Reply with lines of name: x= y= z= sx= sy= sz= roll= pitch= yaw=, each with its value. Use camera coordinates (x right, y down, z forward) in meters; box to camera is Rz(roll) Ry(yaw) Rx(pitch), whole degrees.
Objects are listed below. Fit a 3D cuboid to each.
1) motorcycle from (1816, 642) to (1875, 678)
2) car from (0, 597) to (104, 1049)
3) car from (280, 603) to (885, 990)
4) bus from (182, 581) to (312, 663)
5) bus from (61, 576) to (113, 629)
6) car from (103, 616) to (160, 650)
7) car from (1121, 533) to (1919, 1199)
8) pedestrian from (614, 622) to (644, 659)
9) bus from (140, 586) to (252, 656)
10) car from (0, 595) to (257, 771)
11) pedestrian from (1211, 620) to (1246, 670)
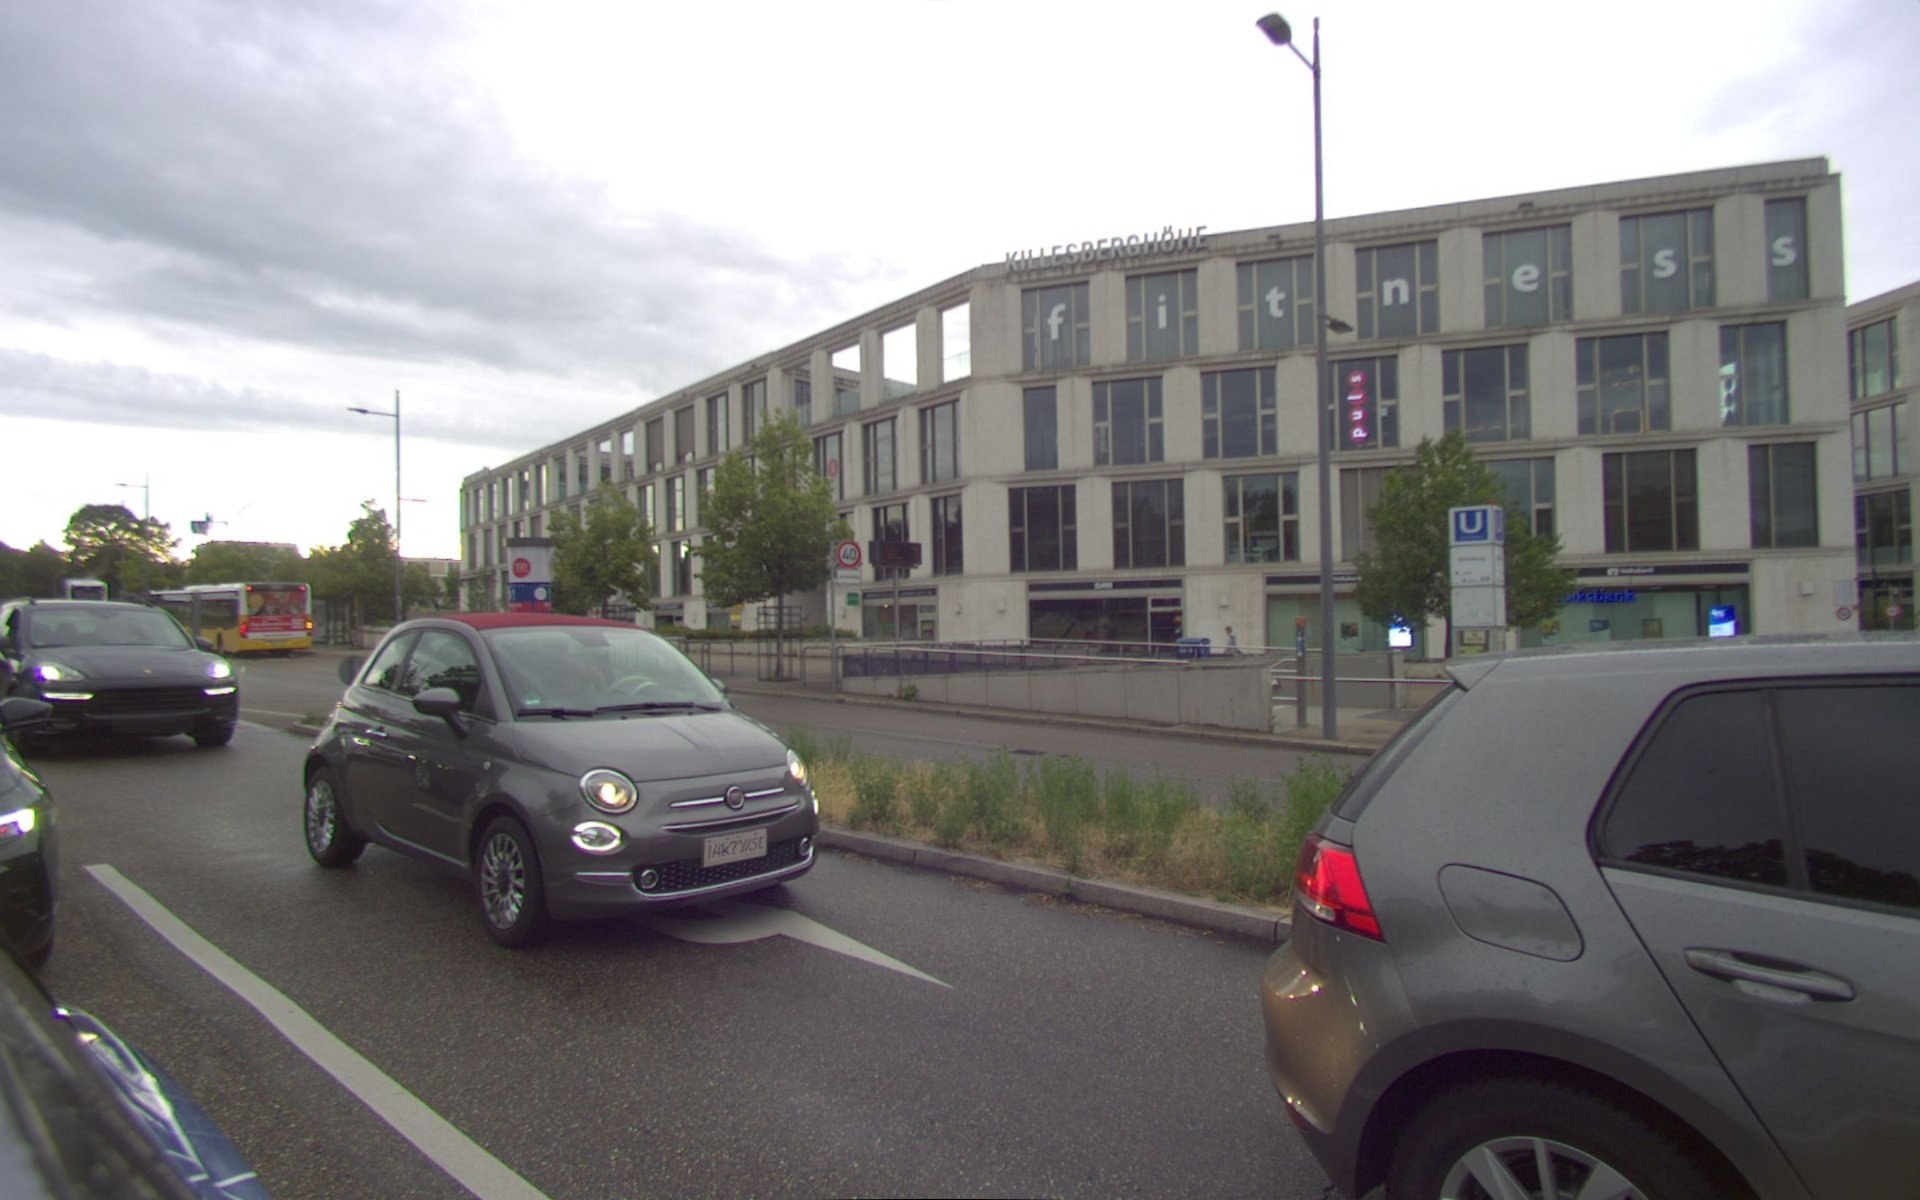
motorcycle: x=20.426 y=1.376 z=23.366 sx=0.517 sy=0.746 sz=1.098 roll=-1 pitch=0 yaw=9
car: x=-5.378 y=0.760 z=4.378 sx=4.766 sy=1.476 sz=1.877 roll=-1 pitch=0 yaw=41
car: x=-2.244 y=0.792 z=5.656 sx=3.502 sy=1.492 sz=1.611 roll=-1 pitch=-1 yaw=39
bus: x=-31.132 y=0.912 z=43.976 sx=9.206 sy=3.236 sz=2.723 roll=-1 pitch=0 yaw=43
bus: x=-76.540 y=0.258 z=88.987 sx=2.717 sy=4.185 sz=19.383 roll=-1 pitch=0 yaw=-39
car: x=-46.609 y=1.819 z=56.893 sx=3.998 sy=1.800 sz=1.843 roll=-1 pitch=0 yaw=41
car: x=2.599 y=0.650 z=1.567 sx=4.374 sy=1.492 sz=1.797 roll=-1 pitch=-2 yaw=41
pedestrian: x=-14.702 y=1.800 z=44.980 sx=0.866 sy=1.593 sz=0.970 roll=-1 pitch=0 yaw=42
bus: x=-38.159 y=0.981 z=50.383 sx=9.911 sy=3.205 sz=2.658 roll=-1 pitch=0 yaw=42
car: x=-10.143 y=0.834 z=11.850 sx=4.612 sy=1.671 sz=1.910 roll=-1 pitch=-1 yaw=39
pedestrian: x=8.796 y=1.464 z=33.154 sx=0.911 sy=1.617 sz=0.756 roll=-1 pitch=-2 yaw=31
